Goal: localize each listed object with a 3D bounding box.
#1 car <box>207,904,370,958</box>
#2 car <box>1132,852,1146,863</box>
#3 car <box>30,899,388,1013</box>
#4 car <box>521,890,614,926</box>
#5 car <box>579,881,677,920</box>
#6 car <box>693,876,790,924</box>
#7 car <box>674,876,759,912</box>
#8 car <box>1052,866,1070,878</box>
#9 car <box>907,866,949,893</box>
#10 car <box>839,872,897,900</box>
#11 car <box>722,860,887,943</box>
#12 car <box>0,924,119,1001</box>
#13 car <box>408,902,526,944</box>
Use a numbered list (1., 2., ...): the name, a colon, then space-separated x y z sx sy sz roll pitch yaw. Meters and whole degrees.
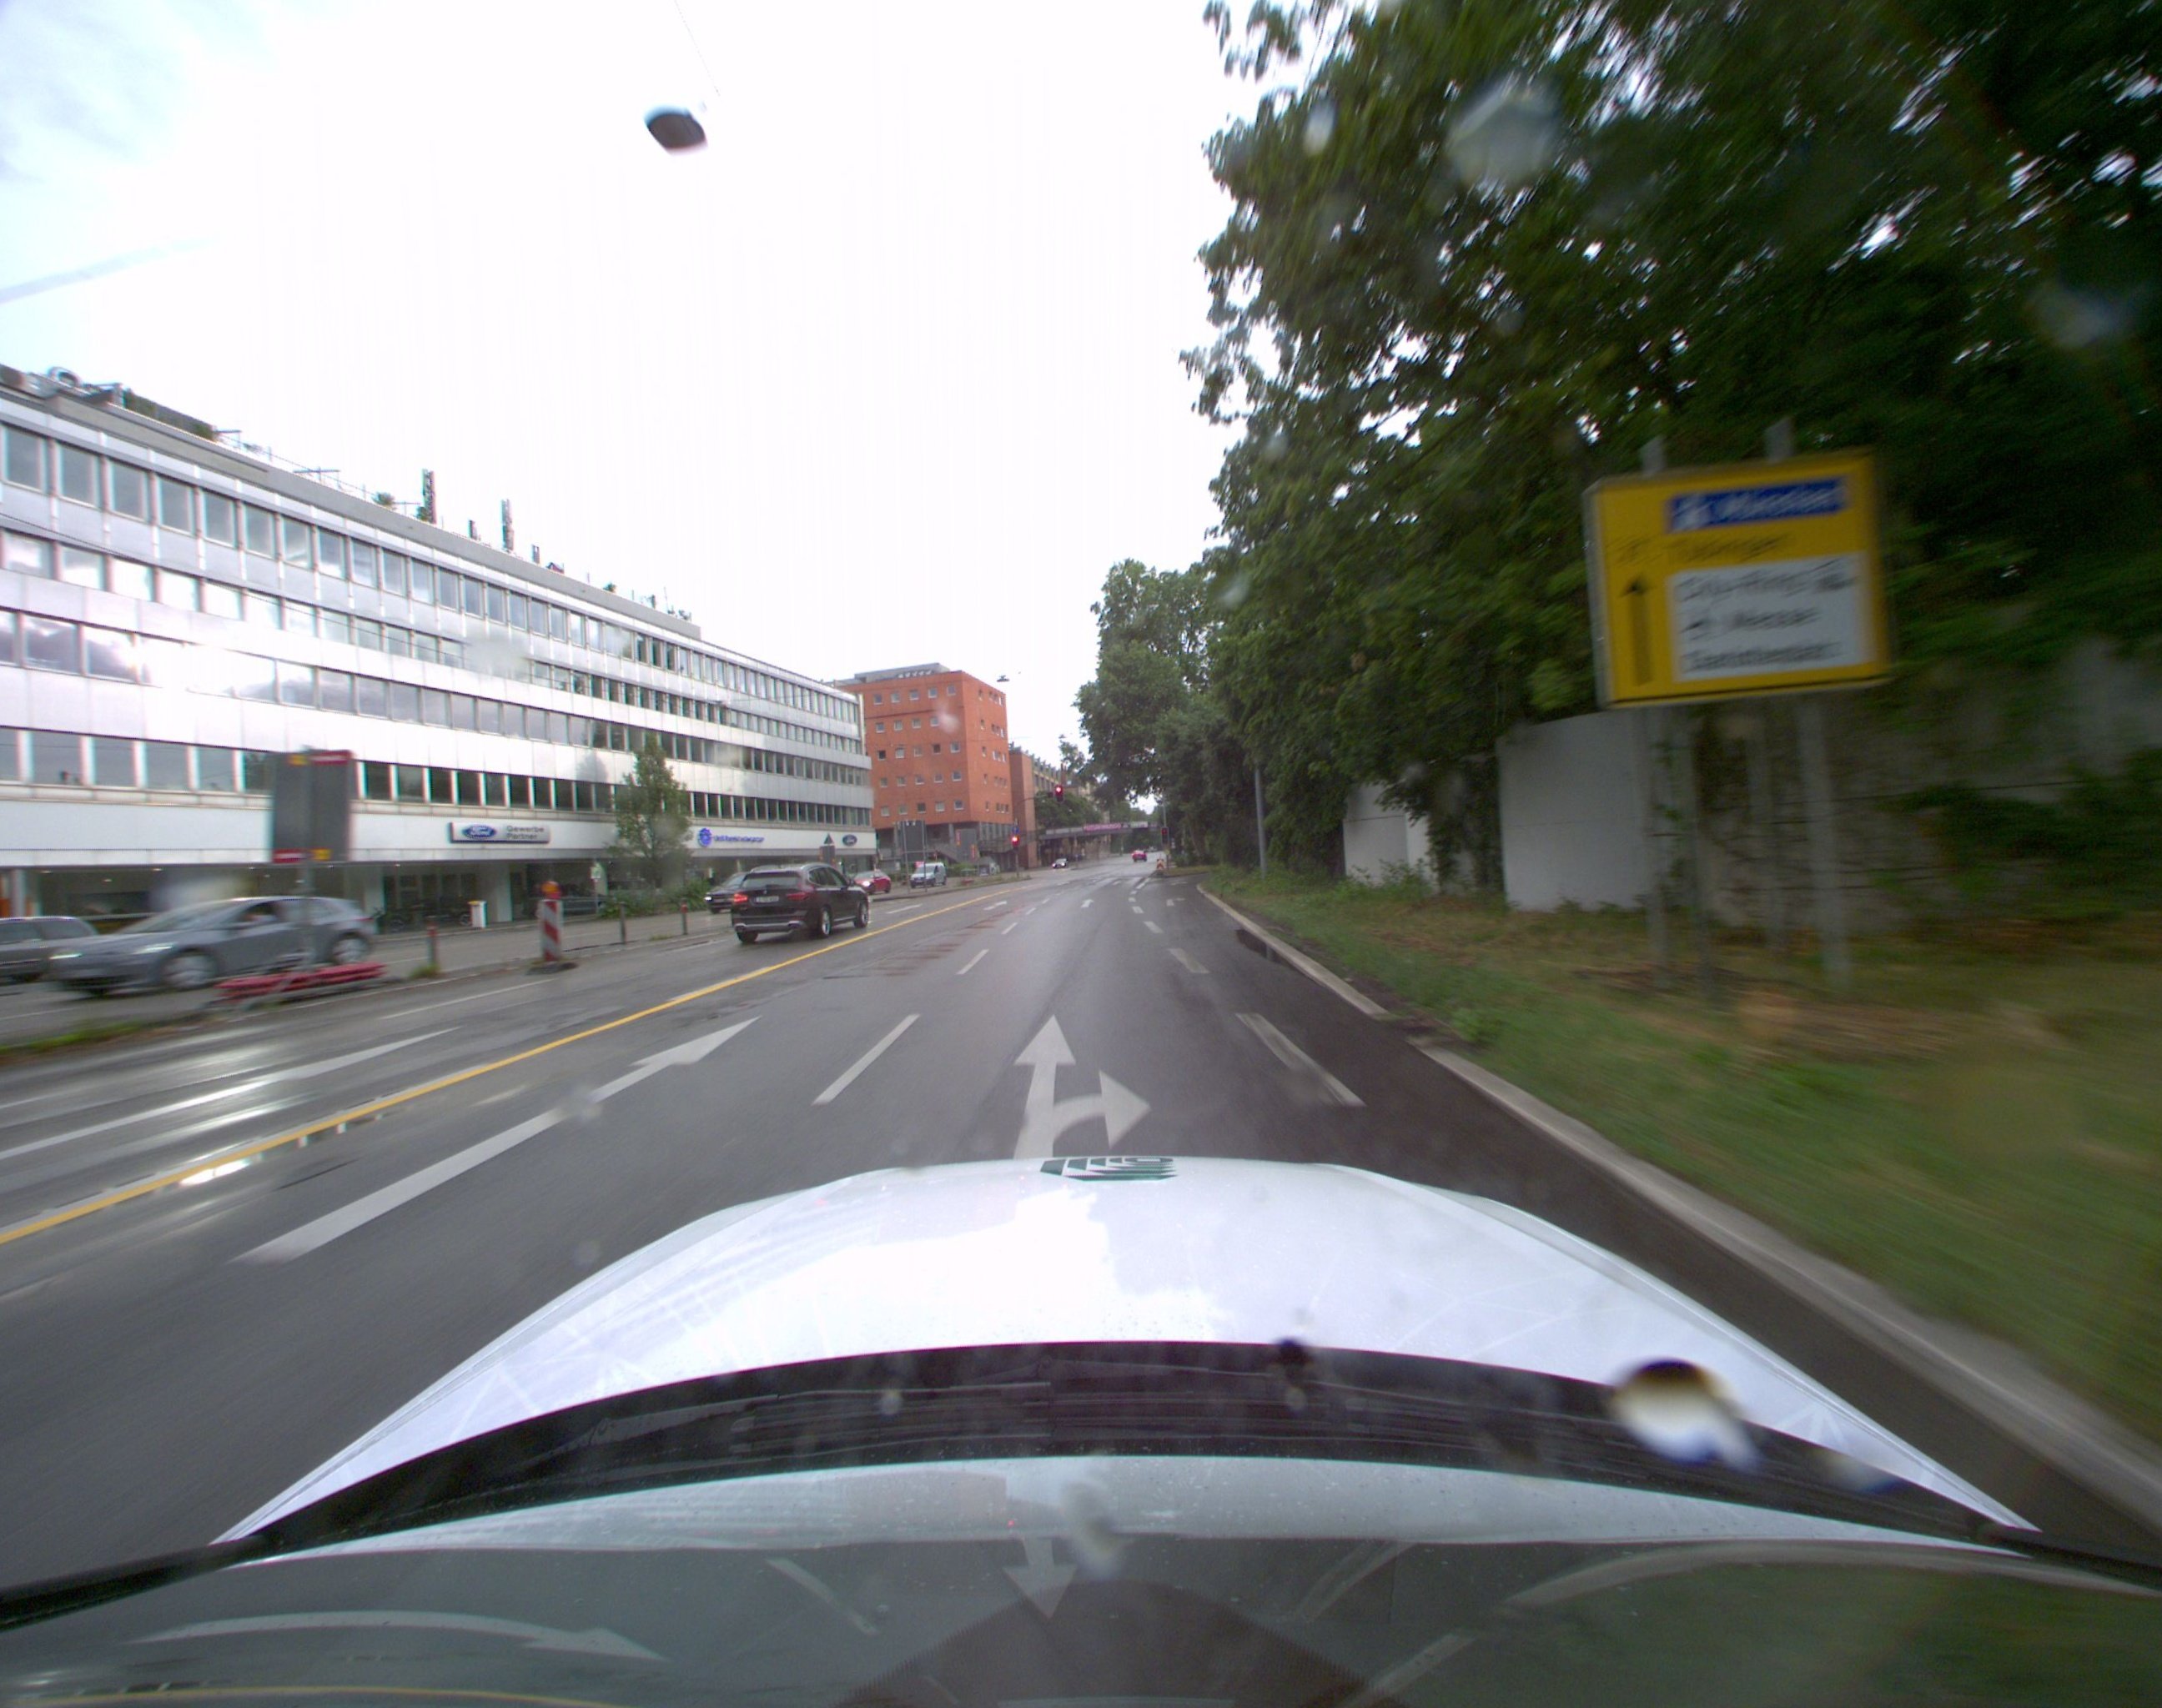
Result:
1. car: -32.339 3.121 33.428 4.400 1.652 1.836 -4 -2 -31
2. car: 9.490 0.498 133.731 2.111 1.735 4.202 -2 0 4
3. car: -15.857 1.757 15.229 1.799 1.558 4.306 -4 -1 5
4. car: -28.662 2.991 45.596 4.005 1.574 1.984 -5 -2 -23
5. car: -28.047 2.853 50.487 5.013 1.897 1.977 -4 -2 -37
6. car: -14.506 1.920 35.143 1.837 1.737 4.610 -4 -1 5
7. car: -25.540 2.776 57.092 5.221 2.011 1.981 -4 -2 -29
8. car: -2.934 2.556 117.946 1.983 1.519 4.007 -4 -1 6
9. car: -11.549 1.909 61.792 1.724 1.786 4.309 -5 -1 7
10. car: -13.154 1.939 50.548 1.820 1.502 4.382 -5 -1 7
11. car: -6.198 0.987 18.945 1.939 1.597 4.675 -2 0 4
12. car: -28.680 2.959 20.904 1.835 1.779 4.748 -6 -1 15
13. car: -29.476 3.279 39.233 1.977 1.574 4.019 -6 -1 18
